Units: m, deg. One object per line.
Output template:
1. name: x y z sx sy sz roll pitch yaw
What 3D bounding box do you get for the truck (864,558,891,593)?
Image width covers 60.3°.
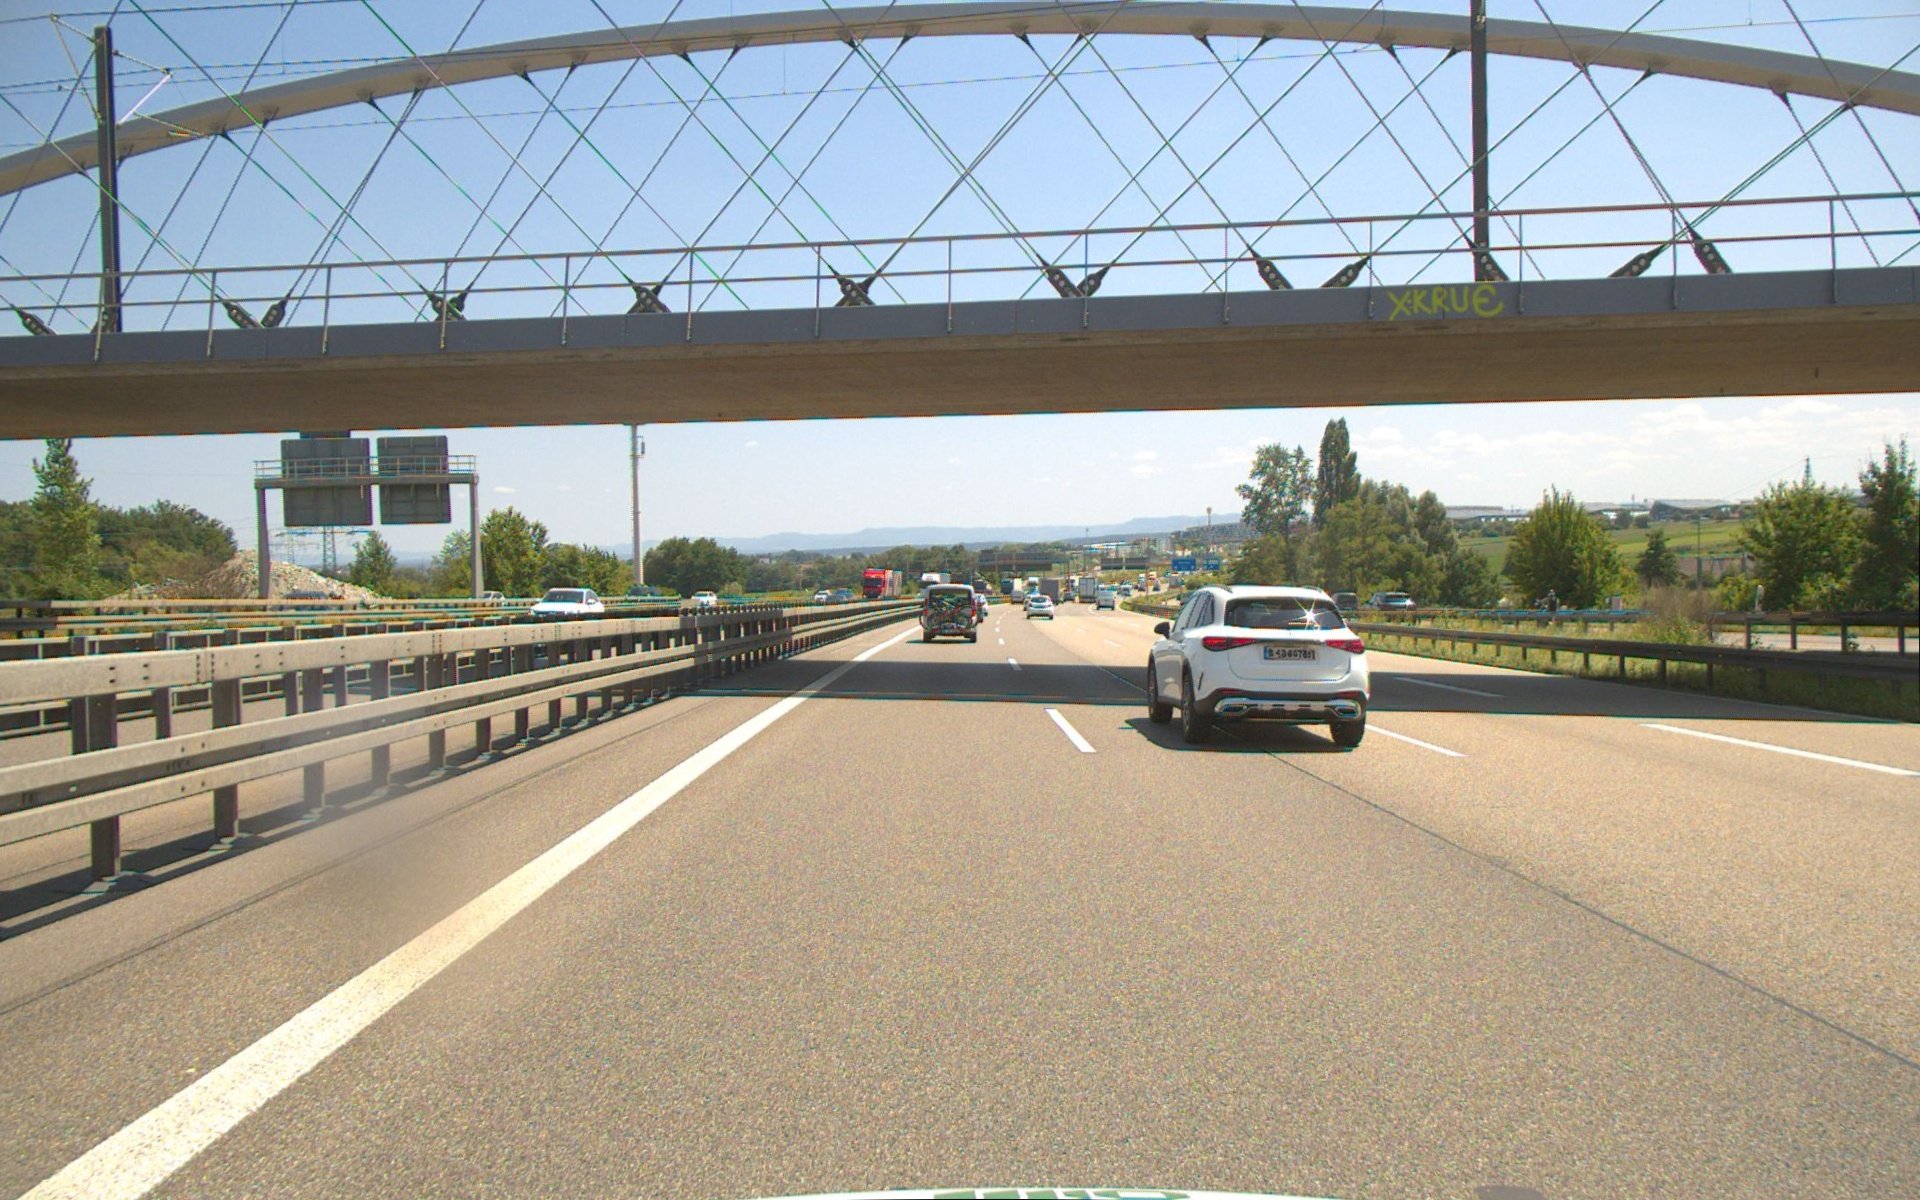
1. truck: -10.246 -3.029 206.792 2.528 4.187 10.350 1 0 2

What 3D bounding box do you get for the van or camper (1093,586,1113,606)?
1. van or camper: 15.073 -0.460 174.475 2.110 2.049 4.306 1 0 4

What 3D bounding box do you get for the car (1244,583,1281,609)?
1. car: 22.879 -0.300 125.370 1.900 1.957 4.177 1 0 -2

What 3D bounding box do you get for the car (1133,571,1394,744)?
1. car: 3.244 0.563 18.721 1.860 1.676 4.996 1 0 -2

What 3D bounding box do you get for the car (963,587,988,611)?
1. car: 1.106 -0.079 114.719 1.543 1.579 3.965 1 0 3

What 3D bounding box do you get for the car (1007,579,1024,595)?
1. car: 7.322 -1.675 217.548 2.141 2.038 4.001 1 0 2

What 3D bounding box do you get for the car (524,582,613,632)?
1. car: -13.565 0.215 57.588 1.888 1.668 4.977 0 0 0

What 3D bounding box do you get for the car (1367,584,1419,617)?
1. car: 21.693 0.033 83.039 1.664 1.602 4.129 1 0 2

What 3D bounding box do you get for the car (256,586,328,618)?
1. car: -35.033 0.077 86.854 1.952 1.646 4.323 0 0 1

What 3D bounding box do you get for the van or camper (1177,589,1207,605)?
1. van or camper: 30.323 -0.433 216.383 2.484 2.049 4.448 1 0 -12

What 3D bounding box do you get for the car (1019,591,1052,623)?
1. car: 4.754 0.421 104.828 1.887 1.952 4.517 1 0 0

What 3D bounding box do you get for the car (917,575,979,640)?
1. car: -0.346 0.230 53.592 1.887 1.952 4.948 1 0 1

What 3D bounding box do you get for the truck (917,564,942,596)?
1. truck: -4.198 -2.742 229.499 2.866 4.420 6.919 1 0 4

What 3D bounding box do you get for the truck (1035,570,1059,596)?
1. truck: 11.401 -2.203 217.473 2.647 3.163 10.660 1 0 1

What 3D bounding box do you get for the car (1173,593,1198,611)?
1. car: 26.827 0.223 196.655 1.956 2.049 3.993 1 0 -8

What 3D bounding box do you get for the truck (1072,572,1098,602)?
1. truck: 20.043 -2.202 265.680 3.954 4.335 11.766 1 3 4

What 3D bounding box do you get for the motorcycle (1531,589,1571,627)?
1. motorcycle: 22.059 0.298 61.730 0.744 1.390 1.869 1 0 -2

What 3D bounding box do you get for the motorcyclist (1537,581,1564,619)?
1. motorcyclist: 22.059 0.007 61.776 0.655 1.390 0.878 1 0 -1

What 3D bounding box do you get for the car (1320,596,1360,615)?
1. car: 25.928 0.368 112.898 1.665 1.299 3.998 1 0 -2
